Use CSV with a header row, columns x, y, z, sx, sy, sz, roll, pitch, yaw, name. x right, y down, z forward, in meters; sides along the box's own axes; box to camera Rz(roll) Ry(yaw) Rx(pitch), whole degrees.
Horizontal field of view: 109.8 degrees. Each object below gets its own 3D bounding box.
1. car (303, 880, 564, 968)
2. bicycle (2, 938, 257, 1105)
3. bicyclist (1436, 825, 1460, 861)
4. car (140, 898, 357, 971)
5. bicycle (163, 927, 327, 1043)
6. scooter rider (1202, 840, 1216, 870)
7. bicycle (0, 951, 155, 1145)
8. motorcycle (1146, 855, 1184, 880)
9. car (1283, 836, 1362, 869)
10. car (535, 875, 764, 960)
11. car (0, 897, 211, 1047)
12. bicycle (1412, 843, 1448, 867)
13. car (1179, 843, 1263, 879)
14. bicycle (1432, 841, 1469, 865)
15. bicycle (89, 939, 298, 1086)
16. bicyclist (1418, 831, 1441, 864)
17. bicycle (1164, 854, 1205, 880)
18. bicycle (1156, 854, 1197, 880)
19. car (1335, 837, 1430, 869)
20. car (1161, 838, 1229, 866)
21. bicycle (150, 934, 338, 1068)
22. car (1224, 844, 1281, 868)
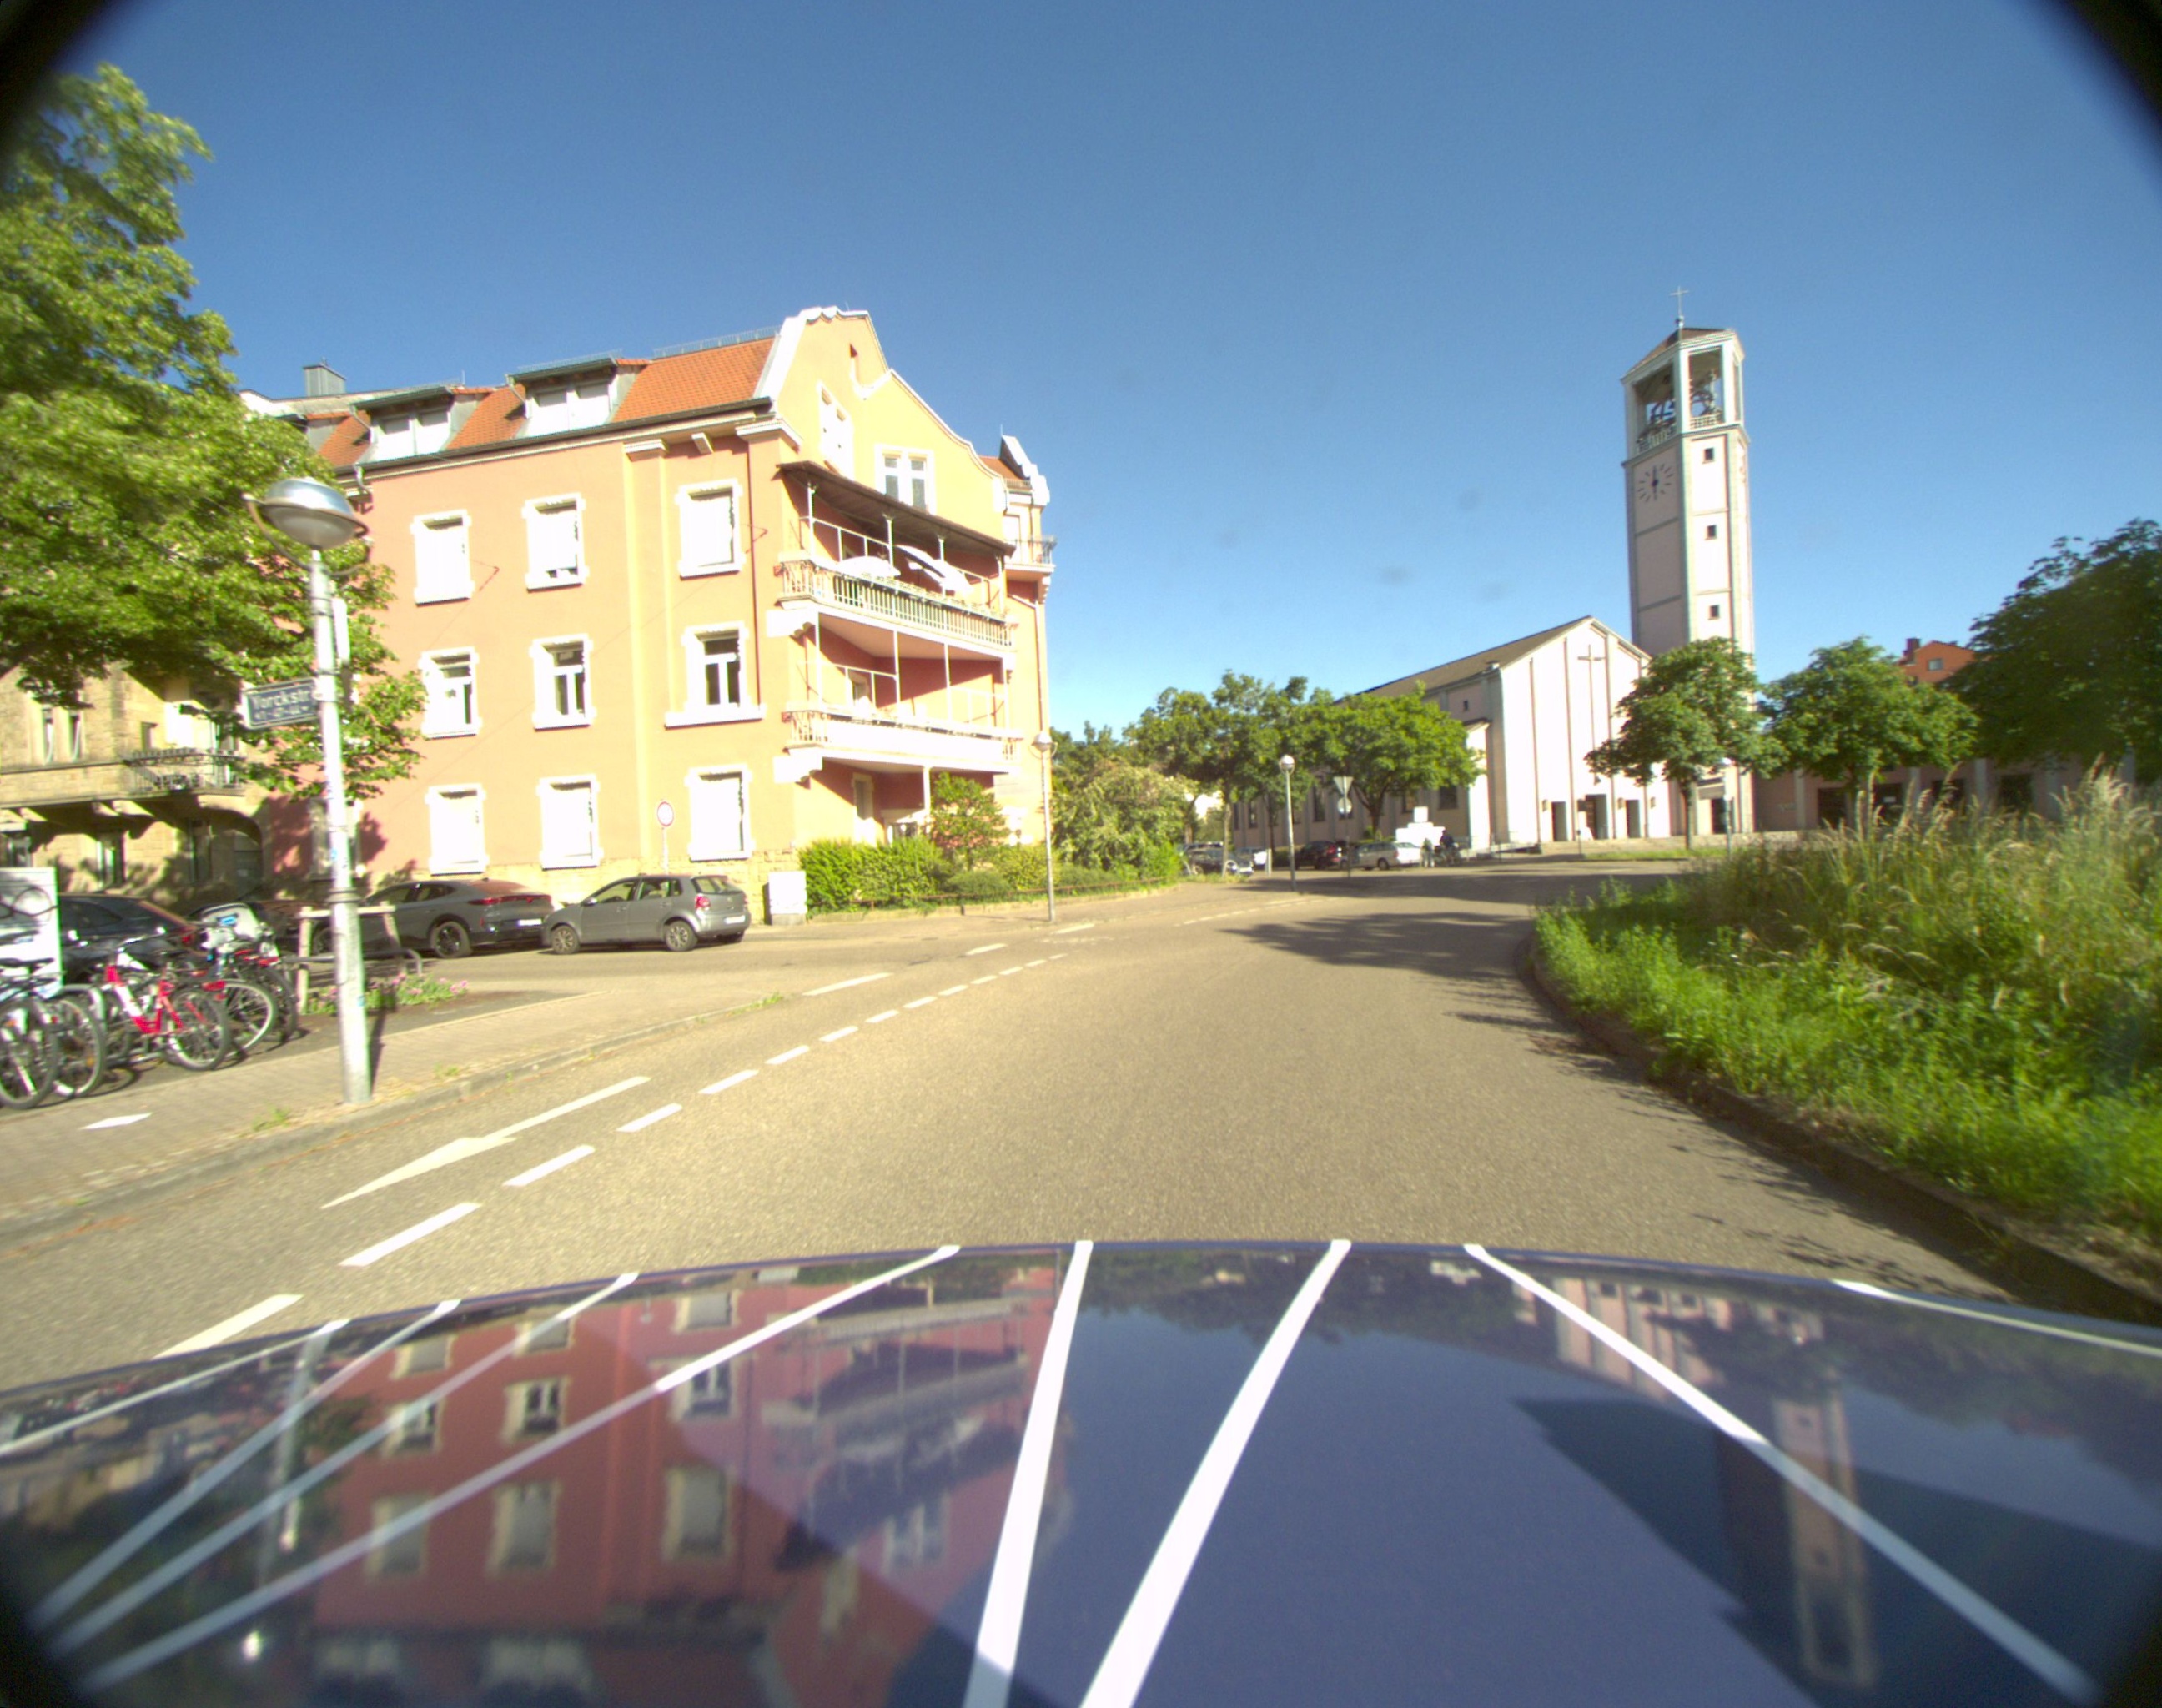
x,y,z,sx,sy,sz,roll,pitch,yaw,name
-13.206,1.415,15.580,4.288,1.553,1.690,-3,-1,10,car
-7.073,1.205,5.655,1.647,1.096,0.501,-2,0,13,bicycle
17.767,-0.526,36.811,0.646,1.704,0.722,-4,1,-11,bicyclist
-18.226,1.735,16.708,3.276,1.373,1.690,-3,-1,10,car
-8.508,1.310,7.734,1.524,1.079,0.420,-2,0,14,bicycle
8.162,0.067,48.427,0.625,1.821,0.631,-3,1,-11,scooter rider
-7.241,1.227,5.026,1.727,1.082,0.658,-2,-1,11,bicycle
3.948,0.619,35.596,1.729,1.100,0.500,-1,0,-25,motorcycle
13.338,-0.057,42.228,1.811,1.718,4.331,-2,0,-22,car
-8.273,1.199,14.702,3.541,1.438,1.690,-3,-1,10,car
-11.927,1.267,7.685,1.684,1.438,3.930,-3,-1,35,car
16.775,0.049,36.599,0.596,1.101,1.862,-4,1,-9,bicycle
6.639,0.336,36.615,1.811,1.475,4.330,-5,1,-23,car
17.829,-0.025,36.668,0.646,1.101,1.715,-4,1,-11,bicycle
-7.249,1.261,6.209,1.571,1.082,0.420,-2,0,13,bicycle
16.755,-0.314,36.581,0.596,1.572,0.803,-4,1,-9,bicyclist
4.533,0.550,33.334,1.728,1.108,0.545,-1,0,-18,bicycle
4.300,0.577,34.176,1.728,1.108,0.545,-1,0,-18,bicycle
14.711,-0.023,37.350,1.811,1.407,4.331,-2,0,-22,car
8.675,-0.144,57.586,4.784,1.989,1.806,-2,0,-22,car
-7.407,1.275,6.728,1.524,1.079,0.420,-2,0,14,bicycle
11.205,0.135,50.031,1.810,1.465,4.333,-2,0,-15,car
